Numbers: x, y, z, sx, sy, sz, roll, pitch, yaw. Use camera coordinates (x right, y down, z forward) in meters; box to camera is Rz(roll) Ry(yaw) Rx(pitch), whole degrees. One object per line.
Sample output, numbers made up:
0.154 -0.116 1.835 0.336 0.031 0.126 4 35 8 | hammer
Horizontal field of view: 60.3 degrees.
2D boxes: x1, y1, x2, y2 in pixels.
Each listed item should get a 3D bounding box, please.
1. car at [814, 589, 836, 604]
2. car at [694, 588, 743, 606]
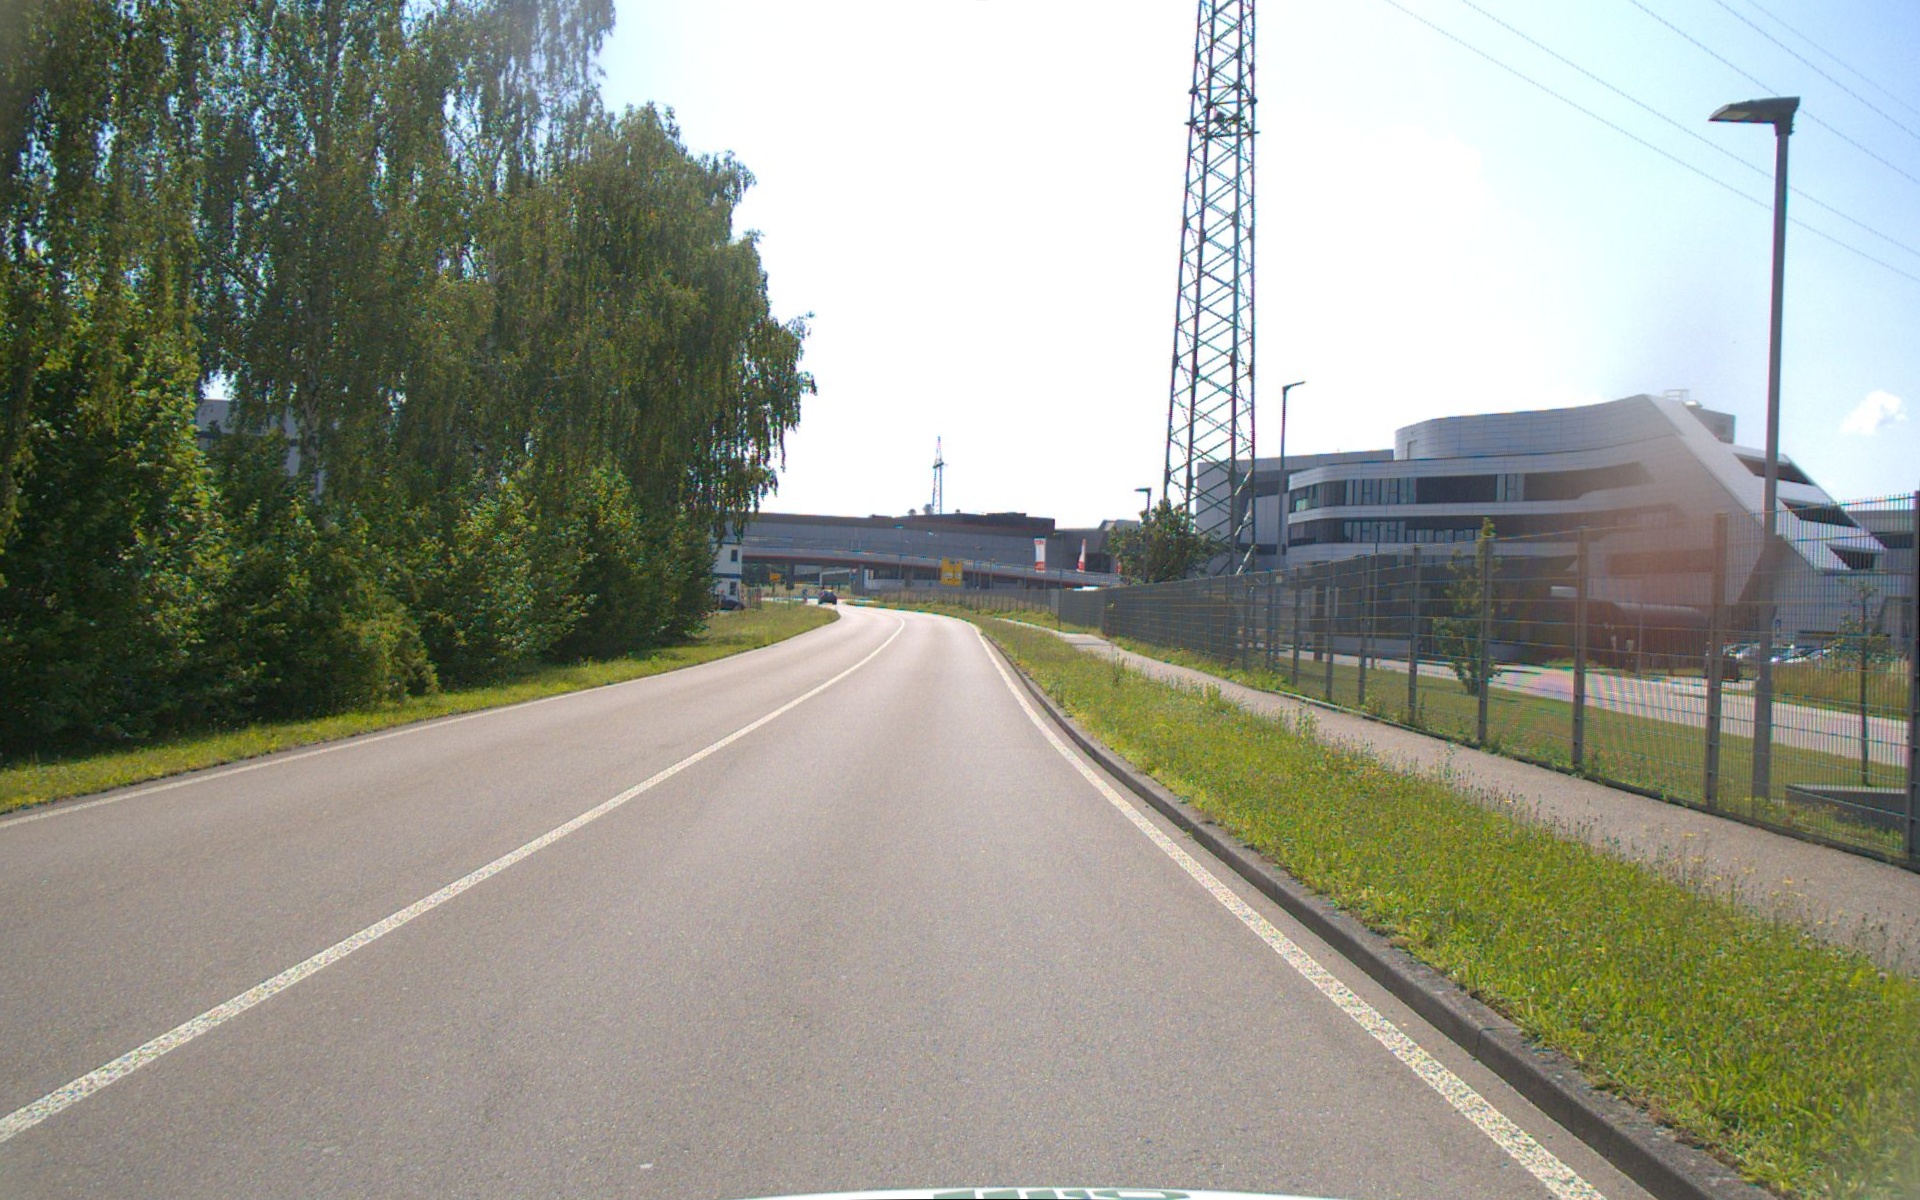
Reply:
-14.575 -0.361 178.220 1.975 1.534 3.992 3 0 -9 | car
-20.002 -0.225 137.145 3.651 1.312 1.690 3 0 -31 | car
